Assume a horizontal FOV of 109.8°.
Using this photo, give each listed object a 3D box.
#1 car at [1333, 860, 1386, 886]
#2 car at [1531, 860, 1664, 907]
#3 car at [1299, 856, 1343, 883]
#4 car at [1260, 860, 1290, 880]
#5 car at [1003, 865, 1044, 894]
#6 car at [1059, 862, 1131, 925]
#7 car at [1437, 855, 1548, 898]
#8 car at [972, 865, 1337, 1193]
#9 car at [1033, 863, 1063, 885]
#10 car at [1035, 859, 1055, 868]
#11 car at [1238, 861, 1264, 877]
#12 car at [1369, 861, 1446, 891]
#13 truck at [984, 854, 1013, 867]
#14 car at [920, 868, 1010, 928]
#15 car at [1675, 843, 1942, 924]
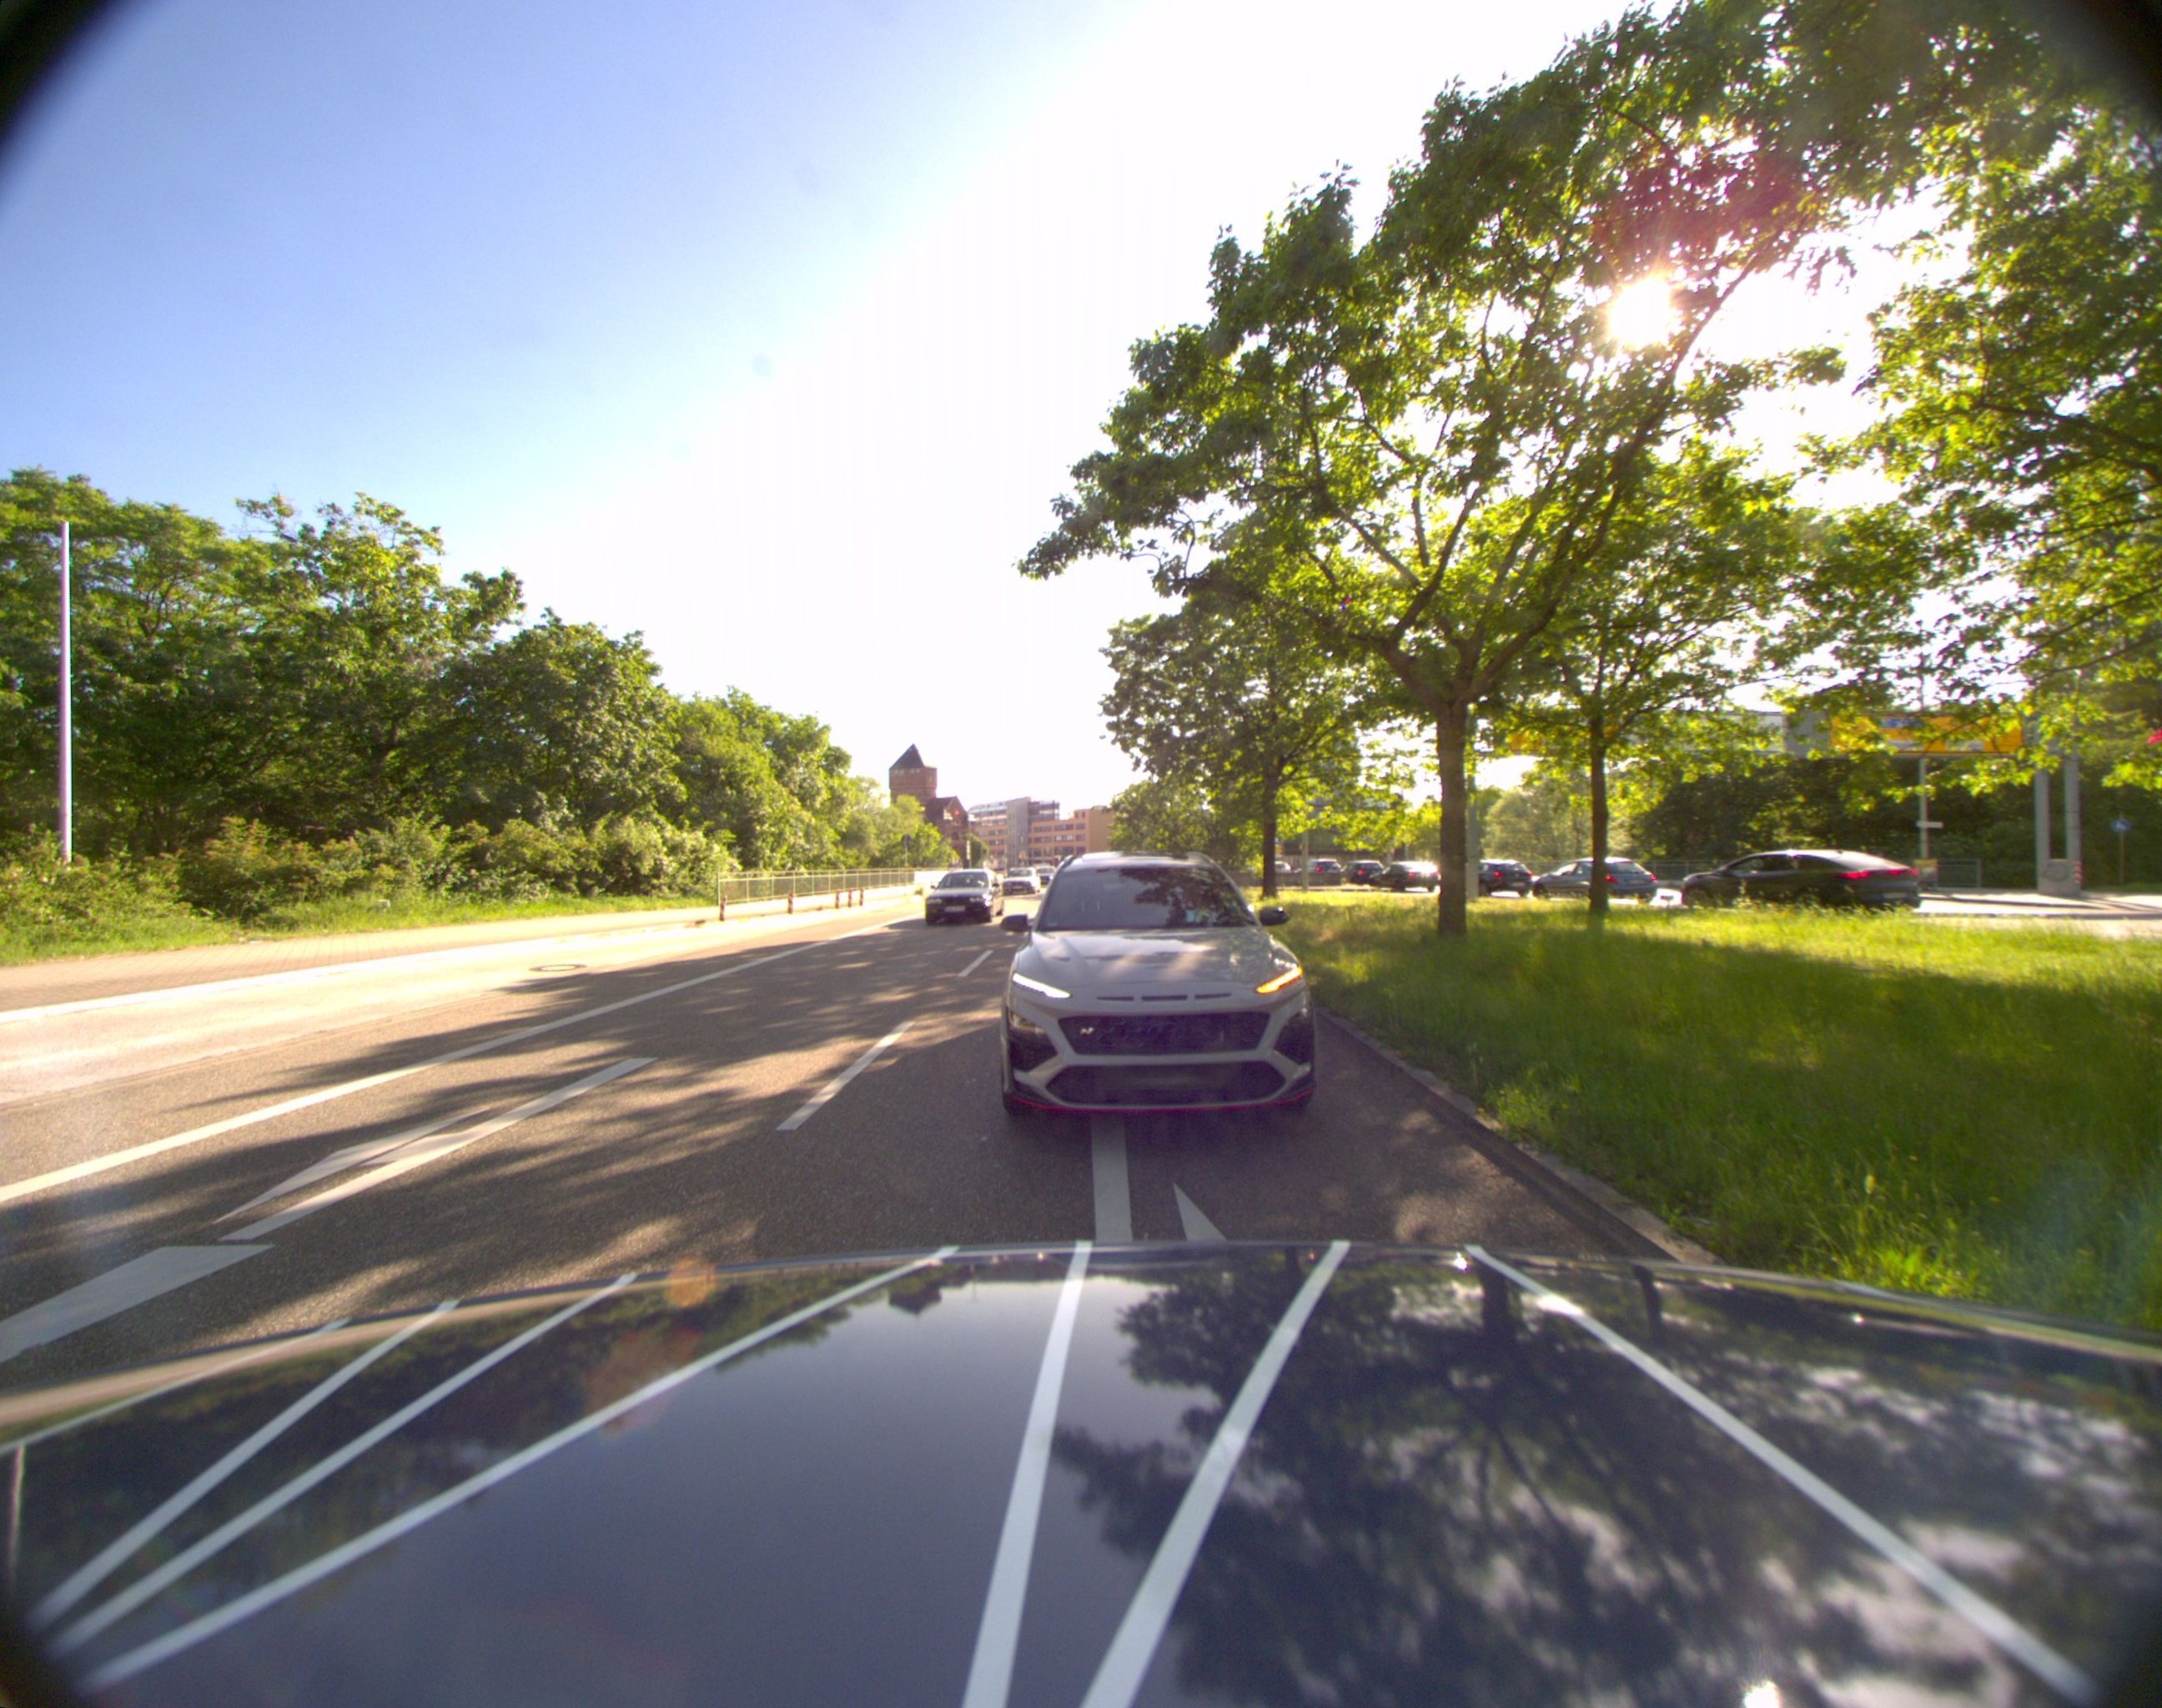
[{"bbox_3d":[15.146,1.034,41.481,1.481,1.331,3.202,-1,-1,-6],"label":"car"},{"bbox_3d":[16.378,0.885,24.316,1.561,1.355,3.608,-1,-1,-6],"label":"car"},{"bbox_3d":[14.967,0.992,47.526,1.450,1.549,3.202,-1,-2,-6],"label":"car"},{"bbox_3d":[14.315,1.207,56.133,1.228,1.331,2.882,-1,-3,-6],"label":"car"},{"bbox_3d":[-3.020,1.326,40.377,1.785,1.411,4.001,-1,-1,1],"label":"car"},{"bbox_3d":[0.363,0.963,20.161,1.677,1.463,4.151,-1,0,1],"label":"car"},{"bbox_3d":[16.182,0.848,30.152,1.875,1.541,4.221,-1,0,-4],"label":"car"},{"bbox_3d":[0.383,0.885,5.690,1.752,1.523,3.988,-1,0,1],"label":"car"},{"bbox_3d":[-2.258,1.378,52.975,1.785,1.411,4.001,-1,-1,1],"label":"car"},{"bbox_3d":[-8.686,2.267,185.039,2.177,2.001,5.400,-1,0,-36],"label":"car"},{"bbox_3d":[13.939,1.280,62.329,1.199,1.252,2.768,-1,-2,-6],"label":"car"},{"bbox_3d":[15.470,0.999,36.225,1.623,1.305,4.066,-1,0,-6],"label":"car"},{"bbox_3d":[-22.342,1.771,204.900,3.535,3.231,9.141,-1,0,-36],"label":"truck"},{"bbox_3d":[-3.099,1.138,21.201,1.776,1.395,4.318,-1,0,1],"label":"car"},{"bbox_3d":[16.780,0.609,17.918,1.832,1.638,4.458,-1,0,-5],"label":"car"}]
